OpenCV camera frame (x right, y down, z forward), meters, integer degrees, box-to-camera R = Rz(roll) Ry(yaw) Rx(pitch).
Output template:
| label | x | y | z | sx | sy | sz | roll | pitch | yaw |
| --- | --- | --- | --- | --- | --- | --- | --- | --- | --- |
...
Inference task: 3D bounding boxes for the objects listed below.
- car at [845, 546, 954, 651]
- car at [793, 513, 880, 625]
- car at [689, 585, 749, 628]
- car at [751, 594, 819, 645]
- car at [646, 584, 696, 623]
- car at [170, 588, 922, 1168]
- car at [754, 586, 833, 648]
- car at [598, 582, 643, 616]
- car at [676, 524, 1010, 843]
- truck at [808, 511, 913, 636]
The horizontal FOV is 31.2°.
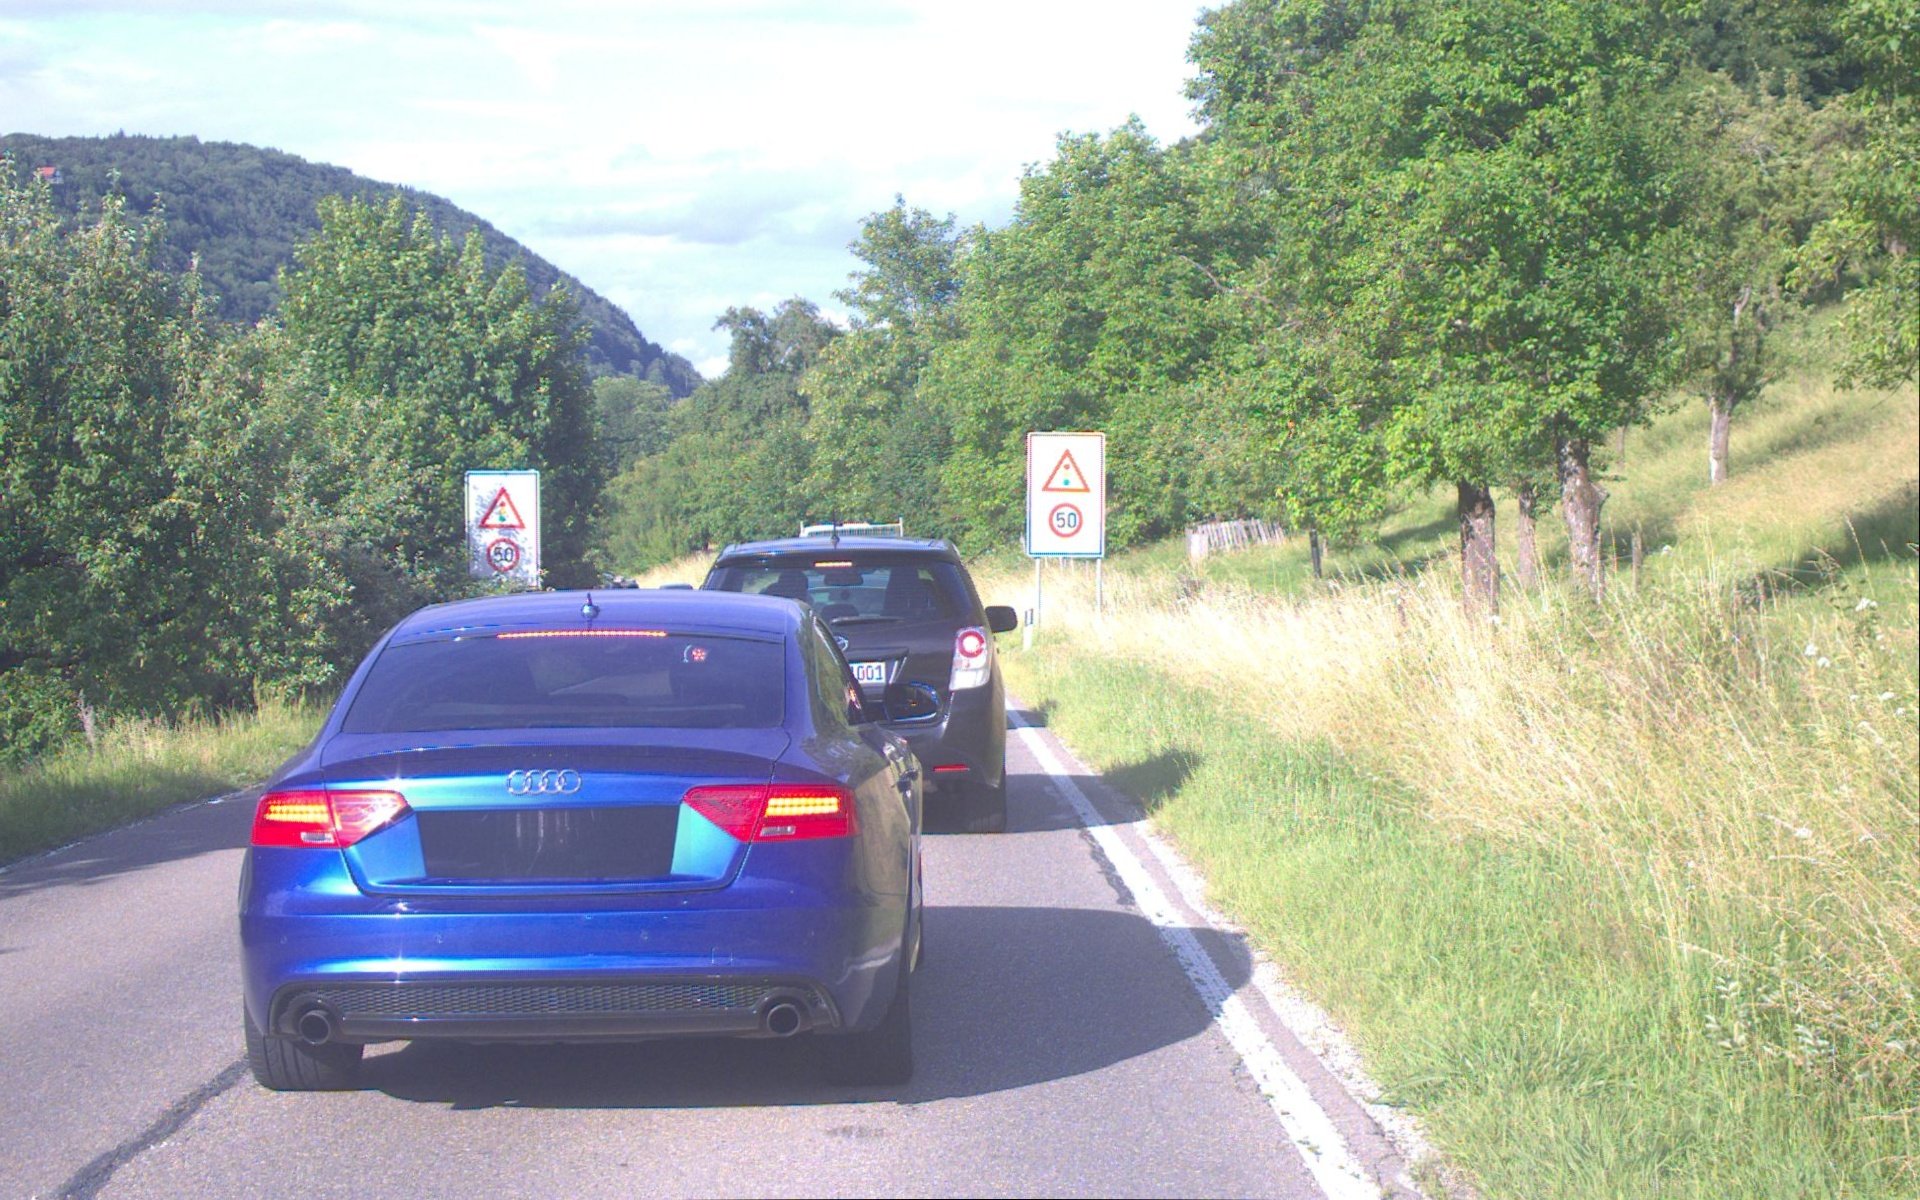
| label | x | y | z | sx | sy | sz | roll | pitch | yaw |
| --- | --- | --- | --- | --- | --- | --- | --- | --- | --- |
| car | -0.973 | -0.049 | 55.695 | 1.692 | 1.618 | 3.789 | 0 | 1 | -1 |
| car | -2.838 | -0.710 | 78.388 | 1.792 | 2.445 | 3.920 | 2 | 1 | -4 |
| car | -9.131 | 0.245 | 129.837 | 1.747 | 1.490 | 3.779 | 2 | 1 | -11 |
| car | -5.645 | 0.614 | 110.635 | 1.747 | 1.490 | 3.779 | 2 | 1 | -9 |
| car | -12.016 | 0.125 | 142.951 | 1.558 | 1.490 | 3.779 | 2 | 1 | -12 |
| car | -1.028 | 0.667 | 10.460 | 1.805 | 1.377 | 4.215 | -1 | 0 | -1 |
| car | -4.362 | 0.419 | 89.644 | 1.747 | 1.490 | 3.779 | 2 | 1 | -7 |
| car | -15.776 | -0.059 | 159.658 | 1.558 | 1.490 | 3.779 | 2 | 1 | -13 |
| car | -0.629 | 0.395 | 19.437 | 1.692 | 1.618 | 3.789 | 0 | 1 | -1 |
| truck | -1.992 | -0.540 | 68.656 | 1.950 | 2.337 | 5.094 | 2 | 1 | -2 |
